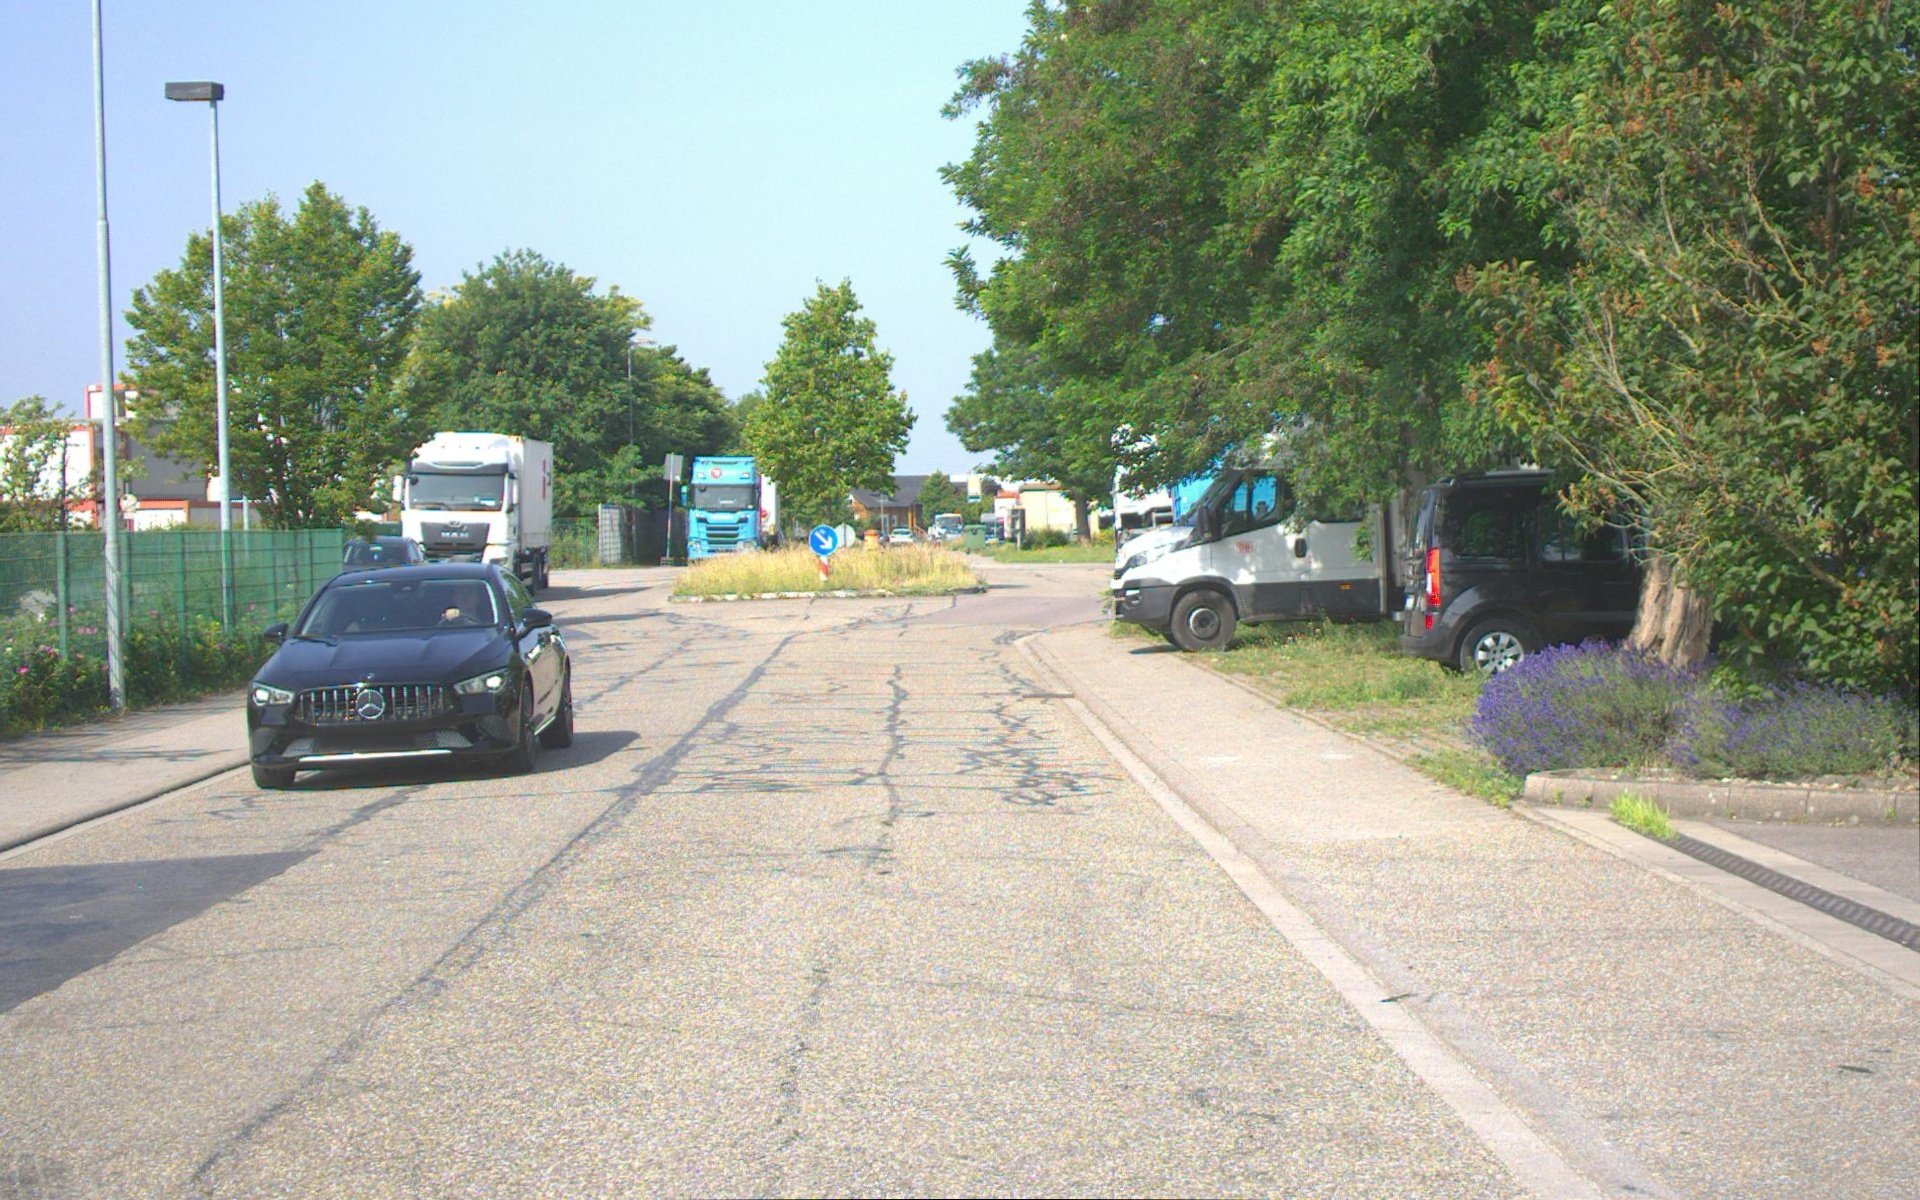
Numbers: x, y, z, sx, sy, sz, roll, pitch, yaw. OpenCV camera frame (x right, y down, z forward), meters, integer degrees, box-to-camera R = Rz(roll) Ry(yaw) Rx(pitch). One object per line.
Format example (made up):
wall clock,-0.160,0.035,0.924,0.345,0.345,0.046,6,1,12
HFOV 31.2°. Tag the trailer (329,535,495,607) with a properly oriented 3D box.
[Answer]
trailer,-11.636,-0.645,73.382,2.681,1.448,5.077,0,2,1

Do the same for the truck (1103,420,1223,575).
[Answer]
truck,5.492,-2.771,93.709,2.746,3.968,4.000,-4,1,0

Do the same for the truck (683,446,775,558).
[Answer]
truck,-8.300,-3.465,124.556,2.825,3.812,9.673,1,0,-1

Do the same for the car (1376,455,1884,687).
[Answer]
car,5.737,-0.260,29.822,3.987,1.831,2.000,-2,1,1

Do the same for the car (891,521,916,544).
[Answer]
car,-4.182,-4.988,255.149,1.718,1.655,3.824,1,0,-3

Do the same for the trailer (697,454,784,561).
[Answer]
trailer,-8.468,-3.506,133.807,2.831,3.829,12.037,1,0,-1

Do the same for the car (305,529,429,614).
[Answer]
car,-11.555,-0.583,67.245,1.695,1.556,4.336,1,1,-1

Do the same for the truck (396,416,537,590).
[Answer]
truck,-11.437,-2.205,79.956,2.708,3.908,4.297,1,0,-1

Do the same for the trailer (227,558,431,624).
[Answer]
trailer,-10.999,-0.197,60.494,2.546,0.922,6.711,2,1,-2

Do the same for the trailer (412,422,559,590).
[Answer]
trailer,-11.549,-2.215,84.344,2.699,3.908,7.576,1,0,-1

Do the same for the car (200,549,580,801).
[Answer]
car,-3.839,0.440,23.911,1.993,1.444,4.420,-4,1,-2

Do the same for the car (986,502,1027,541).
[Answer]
car,2.237,-3.752,165.091,1.792,1.744,4.000,1,0,-2

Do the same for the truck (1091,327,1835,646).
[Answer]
truck,5.777,-1.299,40.450,8.208,3.359,2.741,-2,0,-1

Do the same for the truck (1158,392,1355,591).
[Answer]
truck,5.876,-2.082,69.768,2.888,3.523,9.755,-5,0,0
